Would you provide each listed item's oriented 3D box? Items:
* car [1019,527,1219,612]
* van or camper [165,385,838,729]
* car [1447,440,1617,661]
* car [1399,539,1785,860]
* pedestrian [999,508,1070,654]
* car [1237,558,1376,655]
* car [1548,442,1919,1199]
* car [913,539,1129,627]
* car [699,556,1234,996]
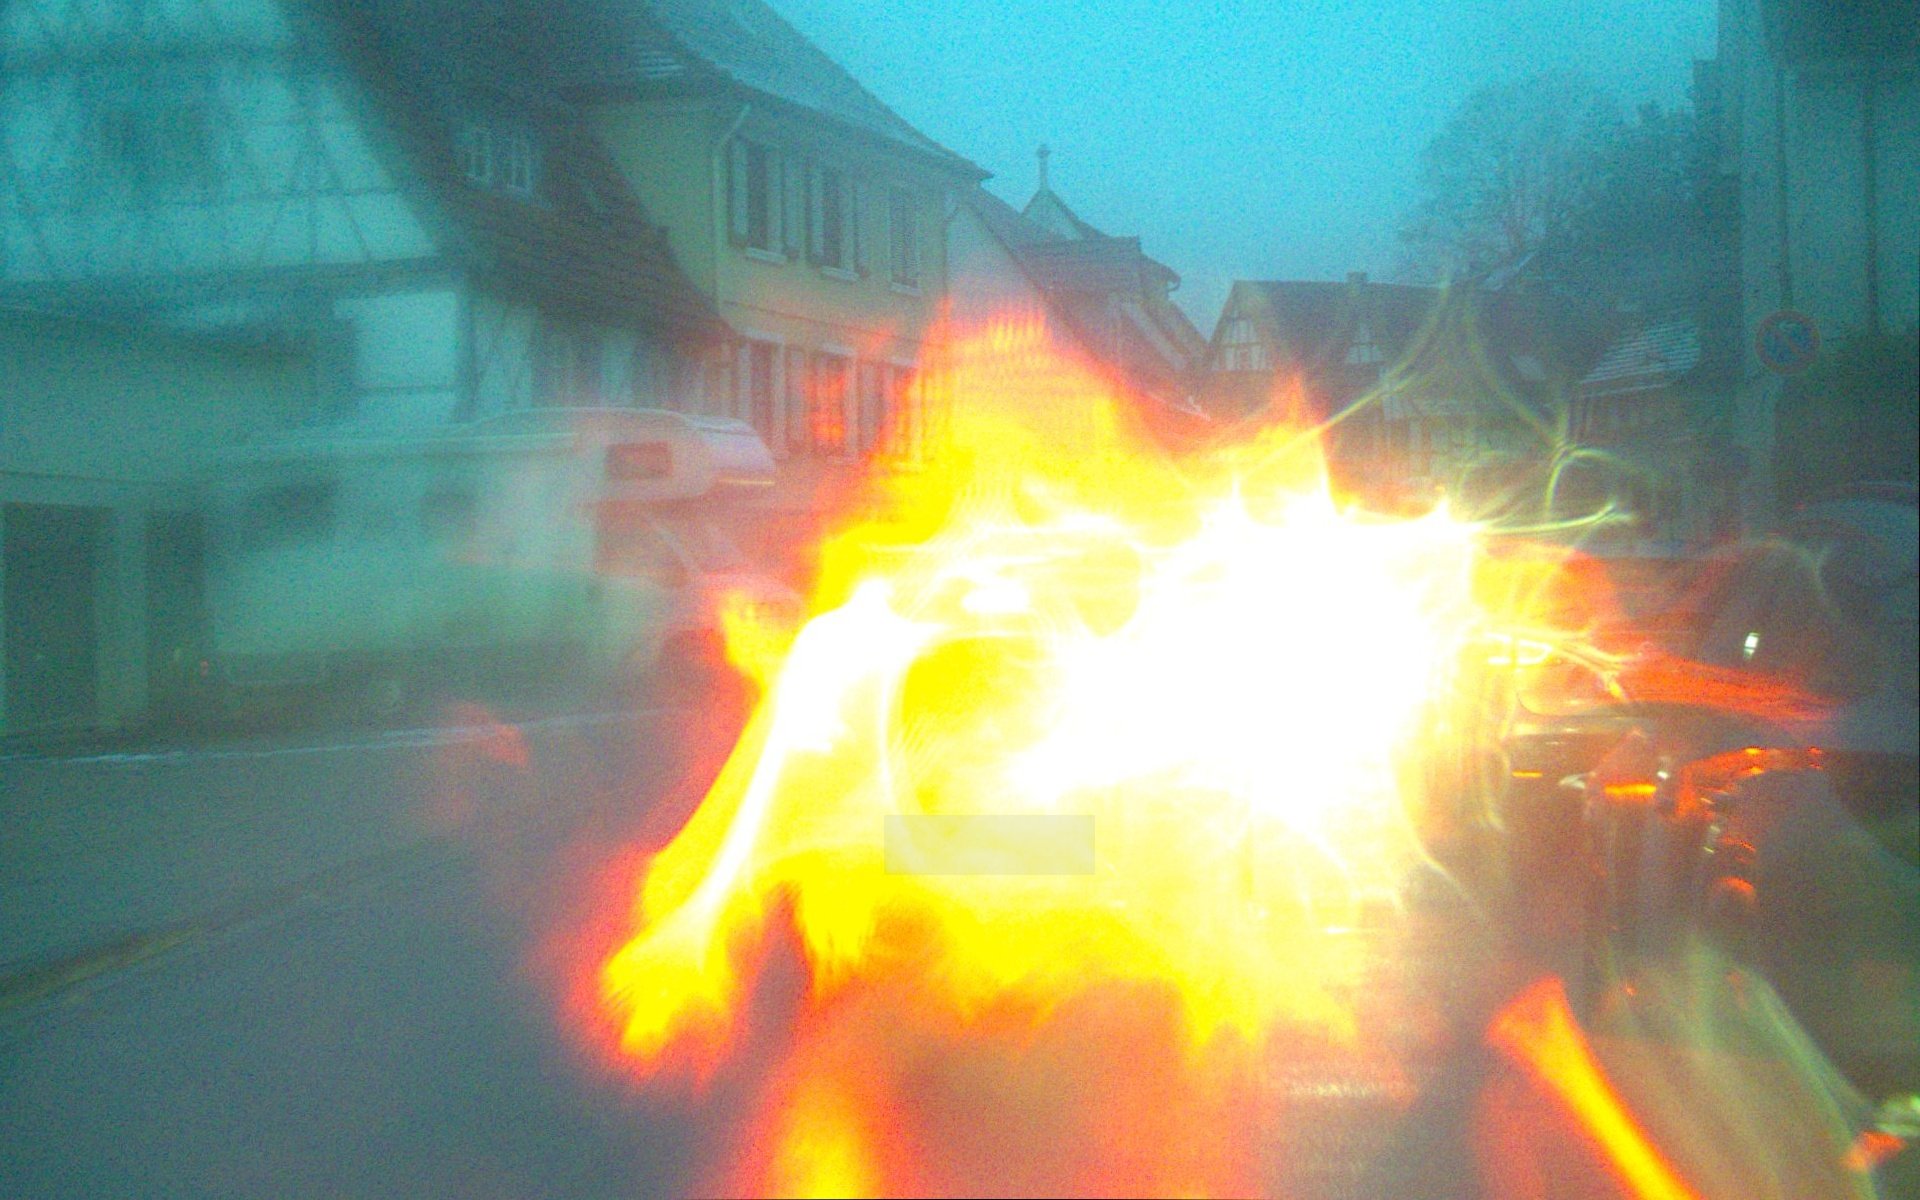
[{"bbox_3d":[2.930,-0.567,63.084,3.508,1.502,1.692,0,1,8],"label":"car"},{"bbox_3d":[-4.542,-0.405,34.472,6.063,2.945,2.405,-4,0,12],"label":"van or camper"},{"bbox_3d":[6.593,-0.578,39.843,1.814,2.405,3.750,-1,1,8],"label":"car"},{"bbox_3d":[3.311,0.454,18.645,1.798,1.529,3.999,-1,1,7],"label":"car"},{"bbox_3d":[1.037,-0.269,47.677,0.873,2.007,0.794,-1,1,7],"label":"pedestrian"},{"bbox_3d":[5.471,0.070,53.933,1.869,1.397,4.364,-1,1,10],"label":"car"},{"bbox_3d":[2.472,0.533,7.676,1.848,1.631,4.335,0,1,4],"label":"car"},{"bbox_3d":[1.091,-0.304,60.785,3.510,1.502,1.691,0,1,14],"label":"car"},{"bbox_3d":[0.173,0.572,13.750,1.795,1.471,3.999,0,1,5],"label":"car"}]
